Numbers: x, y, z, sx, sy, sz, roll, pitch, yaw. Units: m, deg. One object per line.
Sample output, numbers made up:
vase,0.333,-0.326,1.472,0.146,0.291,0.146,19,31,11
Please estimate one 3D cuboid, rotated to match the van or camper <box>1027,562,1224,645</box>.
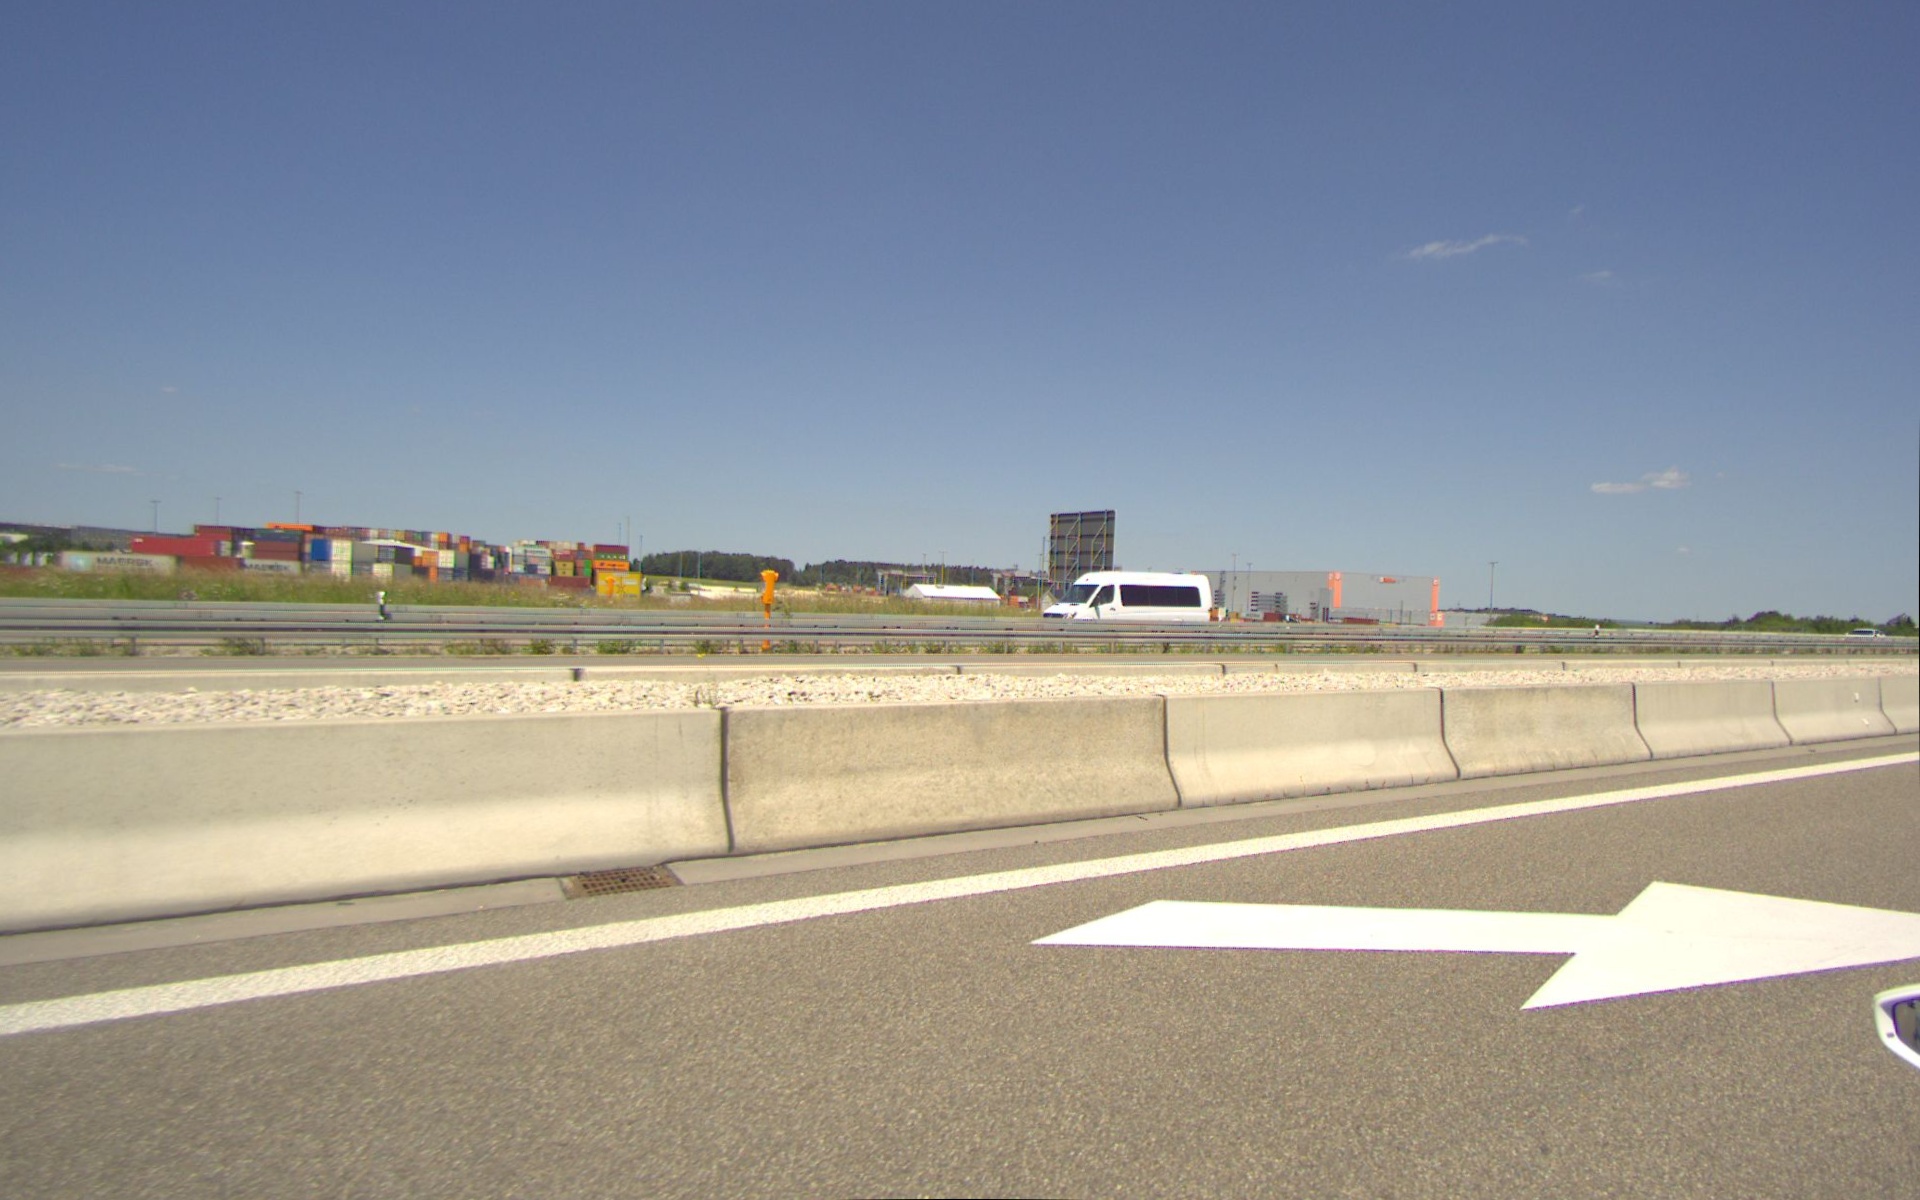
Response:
van or camper,6.347,0.181,38.072,7.454,2.859,2.534,2,0,-30
